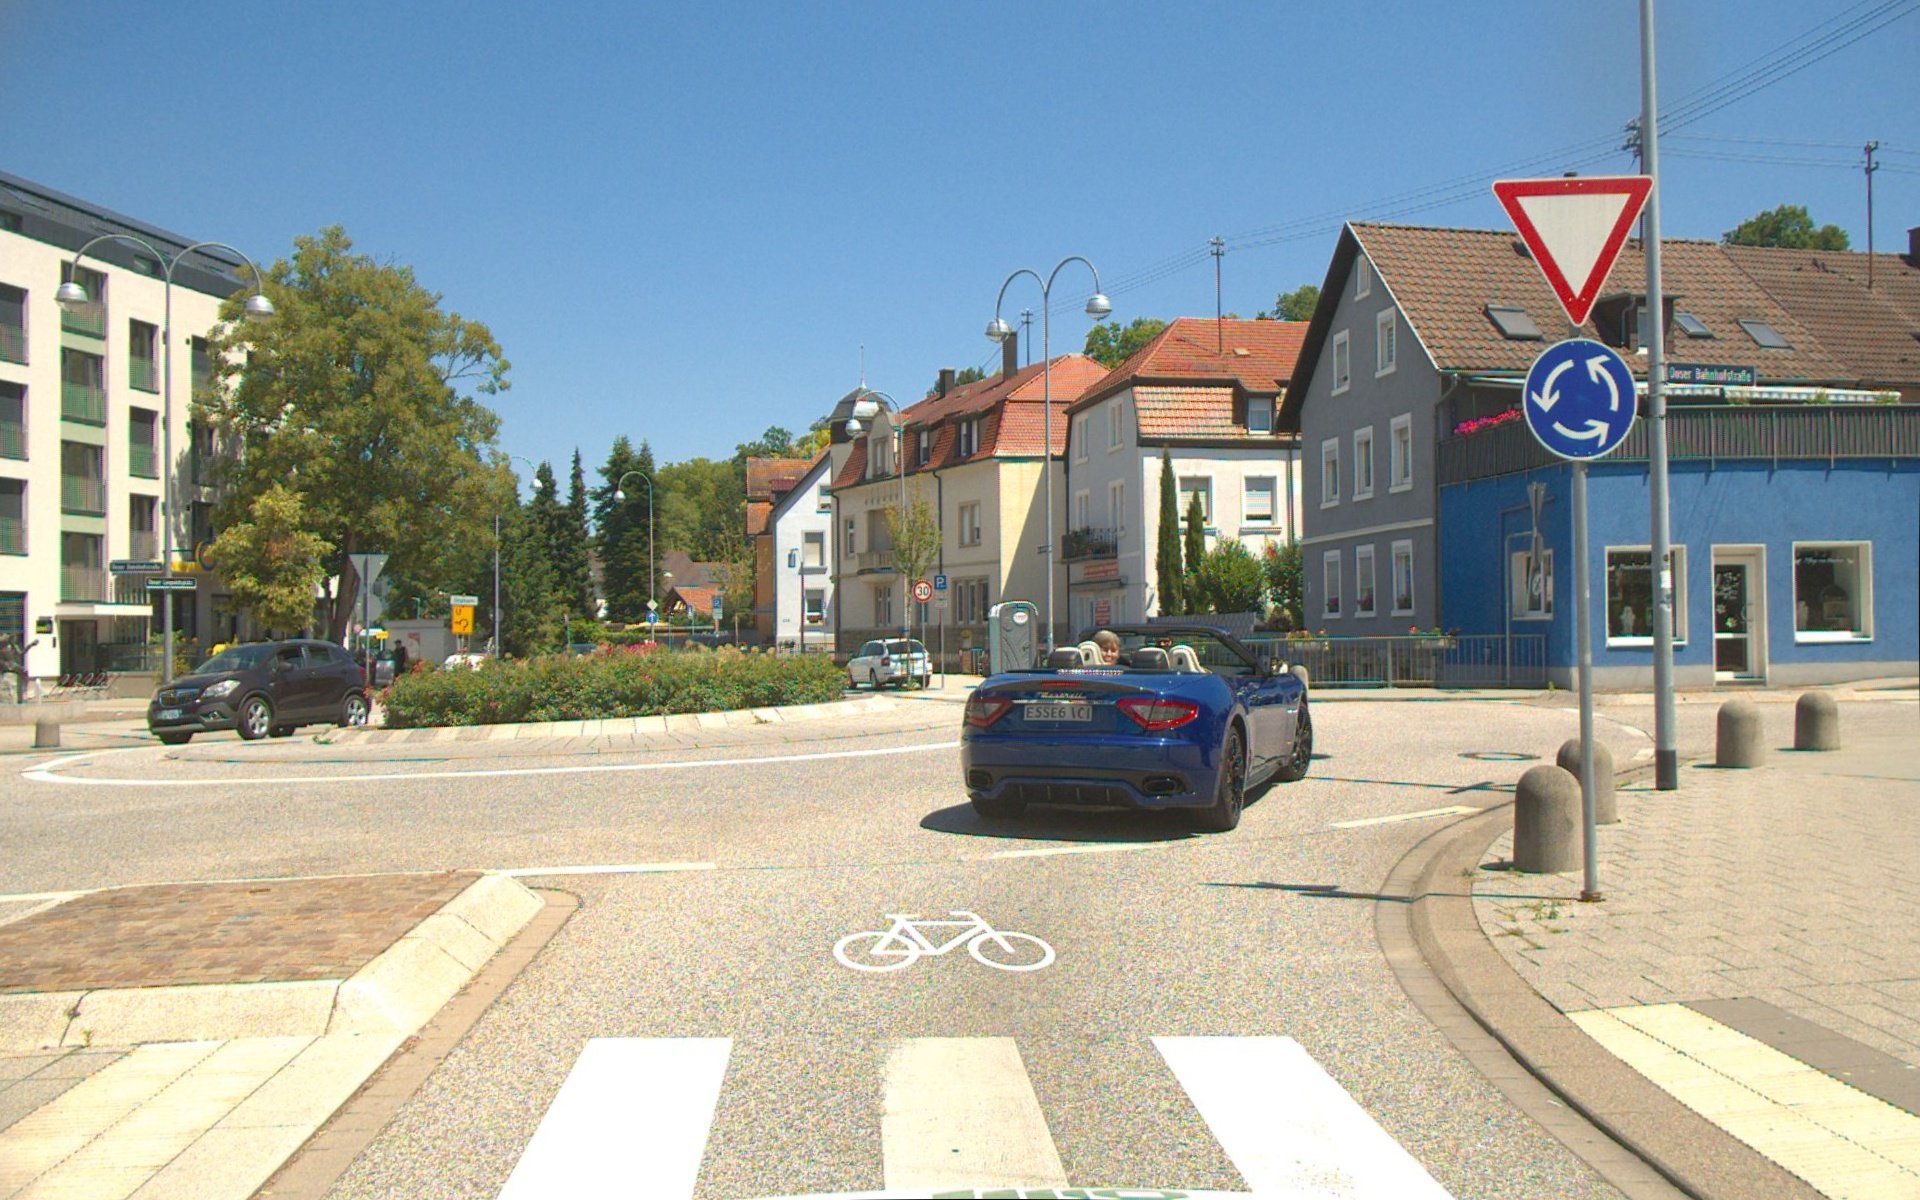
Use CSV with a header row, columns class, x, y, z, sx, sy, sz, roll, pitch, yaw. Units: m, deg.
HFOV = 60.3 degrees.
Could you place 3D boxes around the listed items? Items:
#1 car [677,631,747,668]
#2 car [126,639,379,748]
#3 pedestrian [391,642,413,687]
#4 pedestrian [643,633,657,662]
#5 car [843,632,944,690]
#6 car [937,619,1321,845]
class,x,y,z,sx,sy,sz,roll,pitch,yaw
car,-11.592,2.303,77.126,1.831,1.616,3.958,-2,-1,-30
car,-11.845,1.525,28.001,1.760,1.671,4.062,-2,-2,16
pedestrian,-20.505,2.375,60.814,0.523,1.603,0.563,-2,-1,10
pedestrian,-17.110,2.616,91.200,0.604,1.613,0.582,-1,-1,-27
car,-2.061,1.870,50.087,1.890,1.641,4.122,-1,-2,-20
car,1.465,0.852,12.465,1.871,1.384,4.286,-1,-1,20
